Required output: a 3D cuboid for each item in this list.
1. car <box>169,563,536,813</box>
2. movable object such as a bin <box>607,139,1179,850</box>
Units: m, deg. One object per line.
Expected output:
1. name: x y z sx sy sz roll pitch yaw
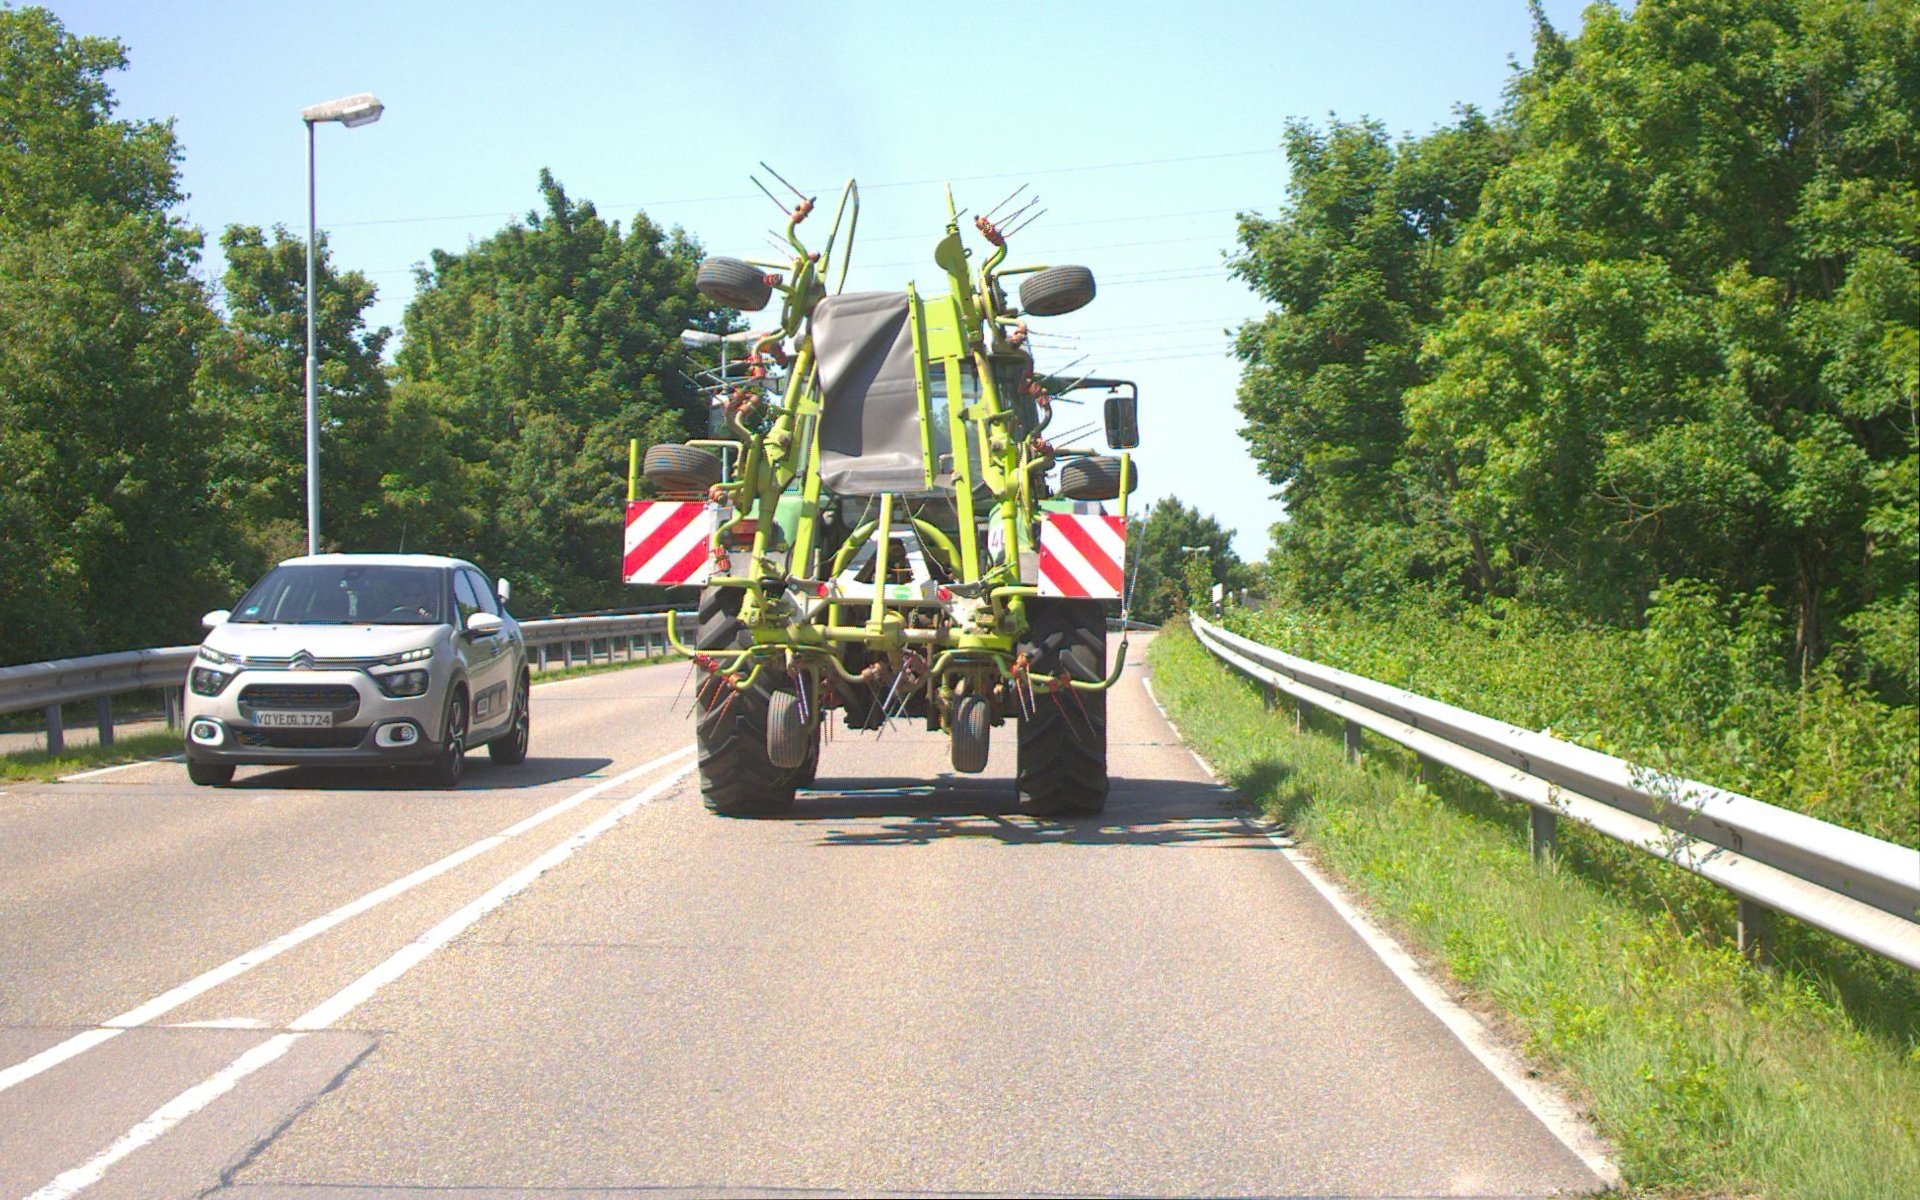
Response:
1. car: -3.946 0.517 22.925 1.739 1.451 3.889 2 1 0
2. movable object such as a bin: -0.360 -0.545 19.489 2.755 3.432 5.670 0 1 -1
